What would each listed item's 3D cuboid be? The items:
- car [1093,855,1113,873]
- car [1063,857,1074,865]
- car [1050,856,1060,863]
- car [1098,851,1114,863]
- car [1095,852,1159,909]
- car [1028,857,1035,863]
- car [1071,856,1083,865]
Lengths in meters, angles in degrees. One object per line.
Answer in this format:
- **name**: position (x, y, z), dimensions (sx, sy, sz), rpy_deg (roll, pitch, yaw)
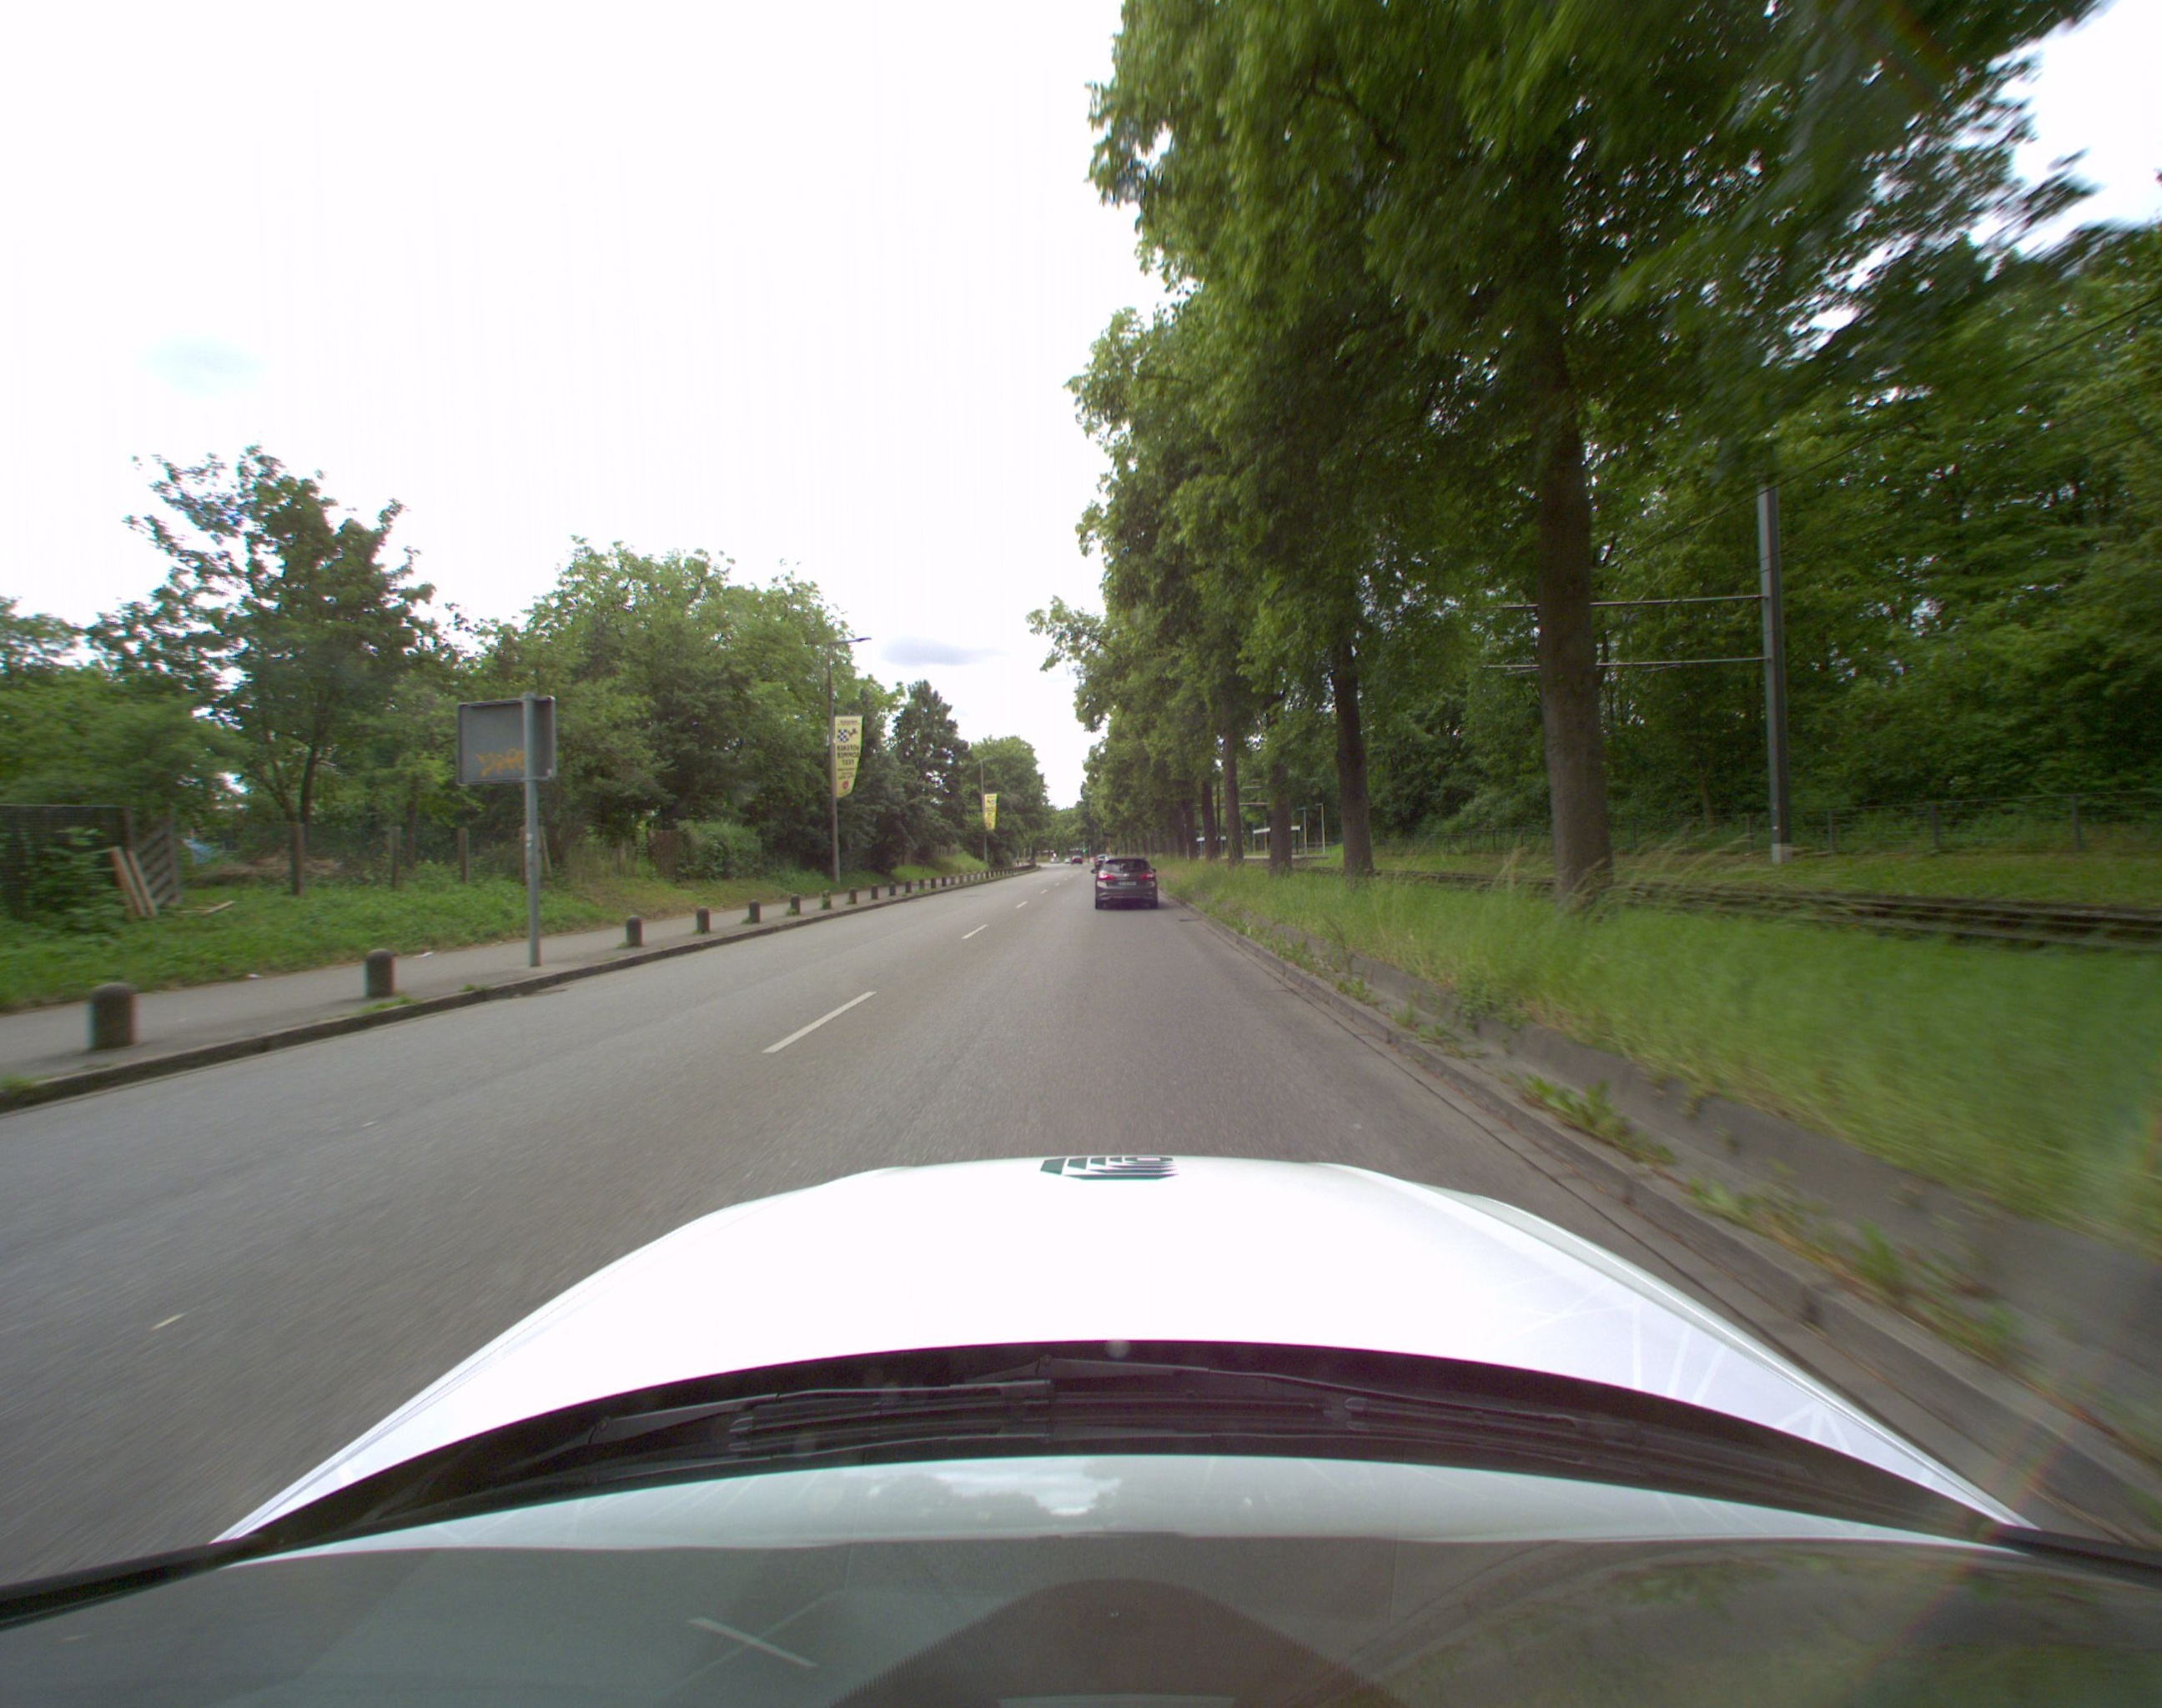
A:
- **car**: position (1.926, 0.845, 72.663), dimensions (1.724, 1.537, 3.552), rpy_deg (-1, 0, 1)
- **car**: position (-2.456, 1.259, 154.096), dimensions (1.561, 1.441, 3.540), rpy_deg (-1, 0, -10)
- **car**: position (-5.658, 1.224, 176.160), dimensions (1.563, 1.441, 3.536), rpy_deg (-1, 0, -13)
- **car**: position (3.034, 0.405, 99.512), dimensions (1.559, 1.441, 3.545), rpy_deg (-1, 0, -5)
- **car**: position (1.283, 0.711, 23.946), dimensions (1.724, 1.537, 3.552), rpy_deg (-1, 0, 1)
- **car**: position (-12.812, 1.513, 209.776), dimensions (1.561, 1.441, 3.541), rpy_deg (-1, 0, -8)
- **car**: position (-0.700, 1.153, 138.721), dimensions (1.561, 1.441, 3.540), rpy_deg (-1, 0, -10)
